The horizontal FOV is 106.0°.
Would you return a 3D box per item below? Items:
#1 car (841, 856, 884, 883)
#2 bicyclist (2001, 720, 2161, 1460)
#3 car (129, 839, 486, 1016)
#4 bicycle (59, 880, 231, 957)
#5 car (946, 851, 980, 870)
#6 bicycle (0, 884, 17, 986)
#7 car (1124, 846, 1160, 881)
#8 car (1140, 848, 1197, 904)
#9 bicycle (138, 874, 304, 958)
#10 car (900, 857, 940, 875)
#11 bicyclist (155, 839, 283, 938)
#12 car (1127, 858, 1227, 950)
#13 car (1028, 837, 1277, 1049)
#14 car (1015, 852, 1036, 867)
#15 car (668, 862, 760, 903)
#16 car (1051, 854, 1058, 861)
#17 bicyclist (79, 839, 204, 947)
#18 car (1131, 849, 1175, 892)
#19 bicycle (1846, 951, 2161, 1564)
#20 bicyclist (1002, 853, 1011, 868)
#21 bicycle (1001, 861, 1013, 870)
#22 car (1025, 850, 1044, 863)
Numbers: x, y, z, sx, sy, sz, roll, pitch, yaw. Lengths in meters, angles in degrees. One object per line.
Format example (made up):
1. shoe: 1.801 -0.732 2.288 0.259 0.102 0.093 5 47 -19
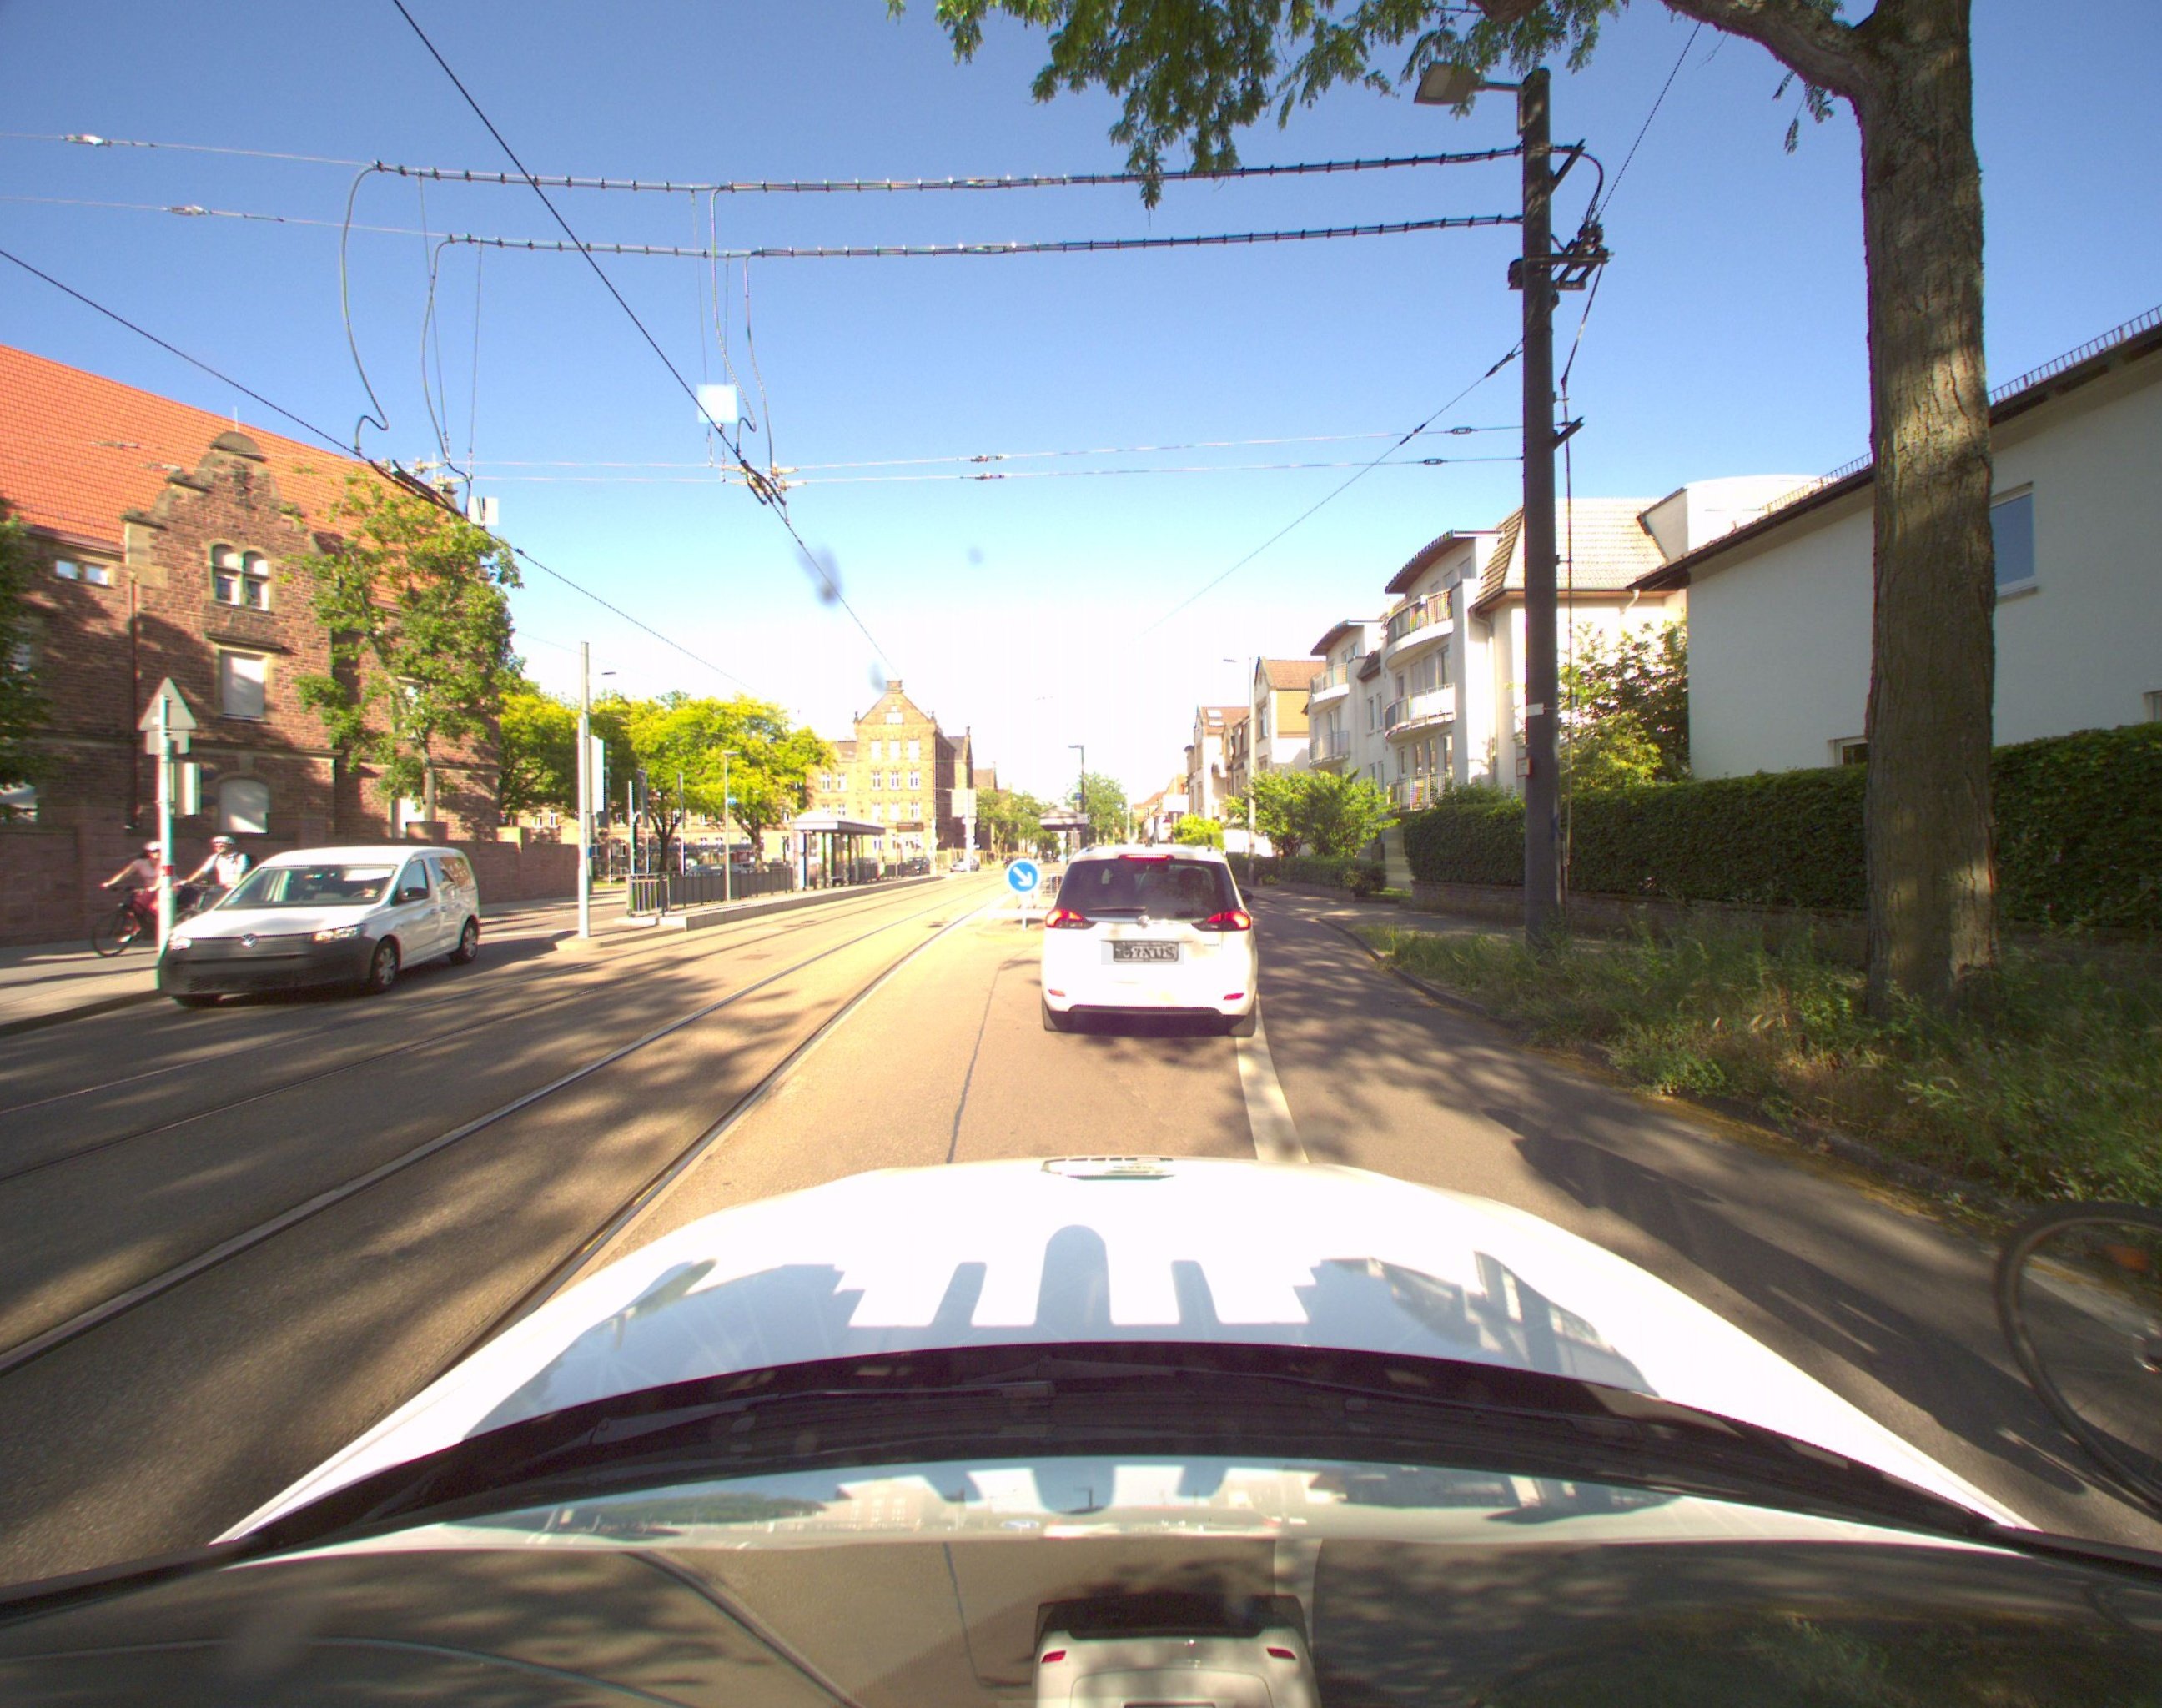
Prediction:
1. car: -13.803 0.977 51.718 1.823 1.617 4.321 -1 -1 -4
2. bicyclist: 2.479 0.470 1.349 0.641 1.488 1.115 0 -1 2
3. car: -9.604 0.758 10.647 1.833 1.788 4.225 -1 0 -20
4. bicycle: -15.238 1.010 13.356 0.668 1.072 2.010 0 0 -7
5. car: -11.373 0.654 78.756 1.814 1.788 4.342 -1 -1 12
6. bicycle: -12.986 0.961 8.760 0.816 1.198 1.943 0 0 -13
7. car: 2.966 0.449 40.398 1.590 1.635 3.903 1 0 2
8. car: 2.650 0.628 25.385 1.562 1.614 3.787 1 0 3
9. bicycle: -14.182 0.972 13.532 0.777 1.231 2.082 -1 0 -9
10. car: -13.284 1.000 67.502 1.815 1.446 4.339 -1 -1 10
11. bicyclist: -14.199 0.533 13.471 0.760 1.536 1.344 -1 0 -9
12. car: 1.770 0.803 14.858 1.560 1.401 3.792 1 0 7
13. car: 0.787 0.668 8.179 1.868 1.585 4.008 -1 0 7
14. car: -7.403 0.705 109.675 1.982 2.014 4.009 -1 -1 8
15. car: -14.128 1.050 31.640 1.795 1.382 4.488 -2 0 -4
16. car: -7.853 1.046 244.186 1.989 2.014 3.994 0 -1 -4
17. bicyclist: -15.212 0.601 13.229 0.649 1.674 1.230 0 0 -6
18. car: 2.925 0.648 33.826 1.590 1.635 3.903 1 0 2
19. bicycle: 2.483 0.857 1.366 0.640 1.143 1.902 -1 0 2
20. bicyclist: -8.490 0.795 93.122 0.721 1.688 1.173 -1 0 12
21. bicycle: -8.479 1.333 93.124 0.721 0.965 2.067 -1 1 12
22. car: -7.076 0.392 124.186 1.982 2.014 4.009 -1 -1 8
